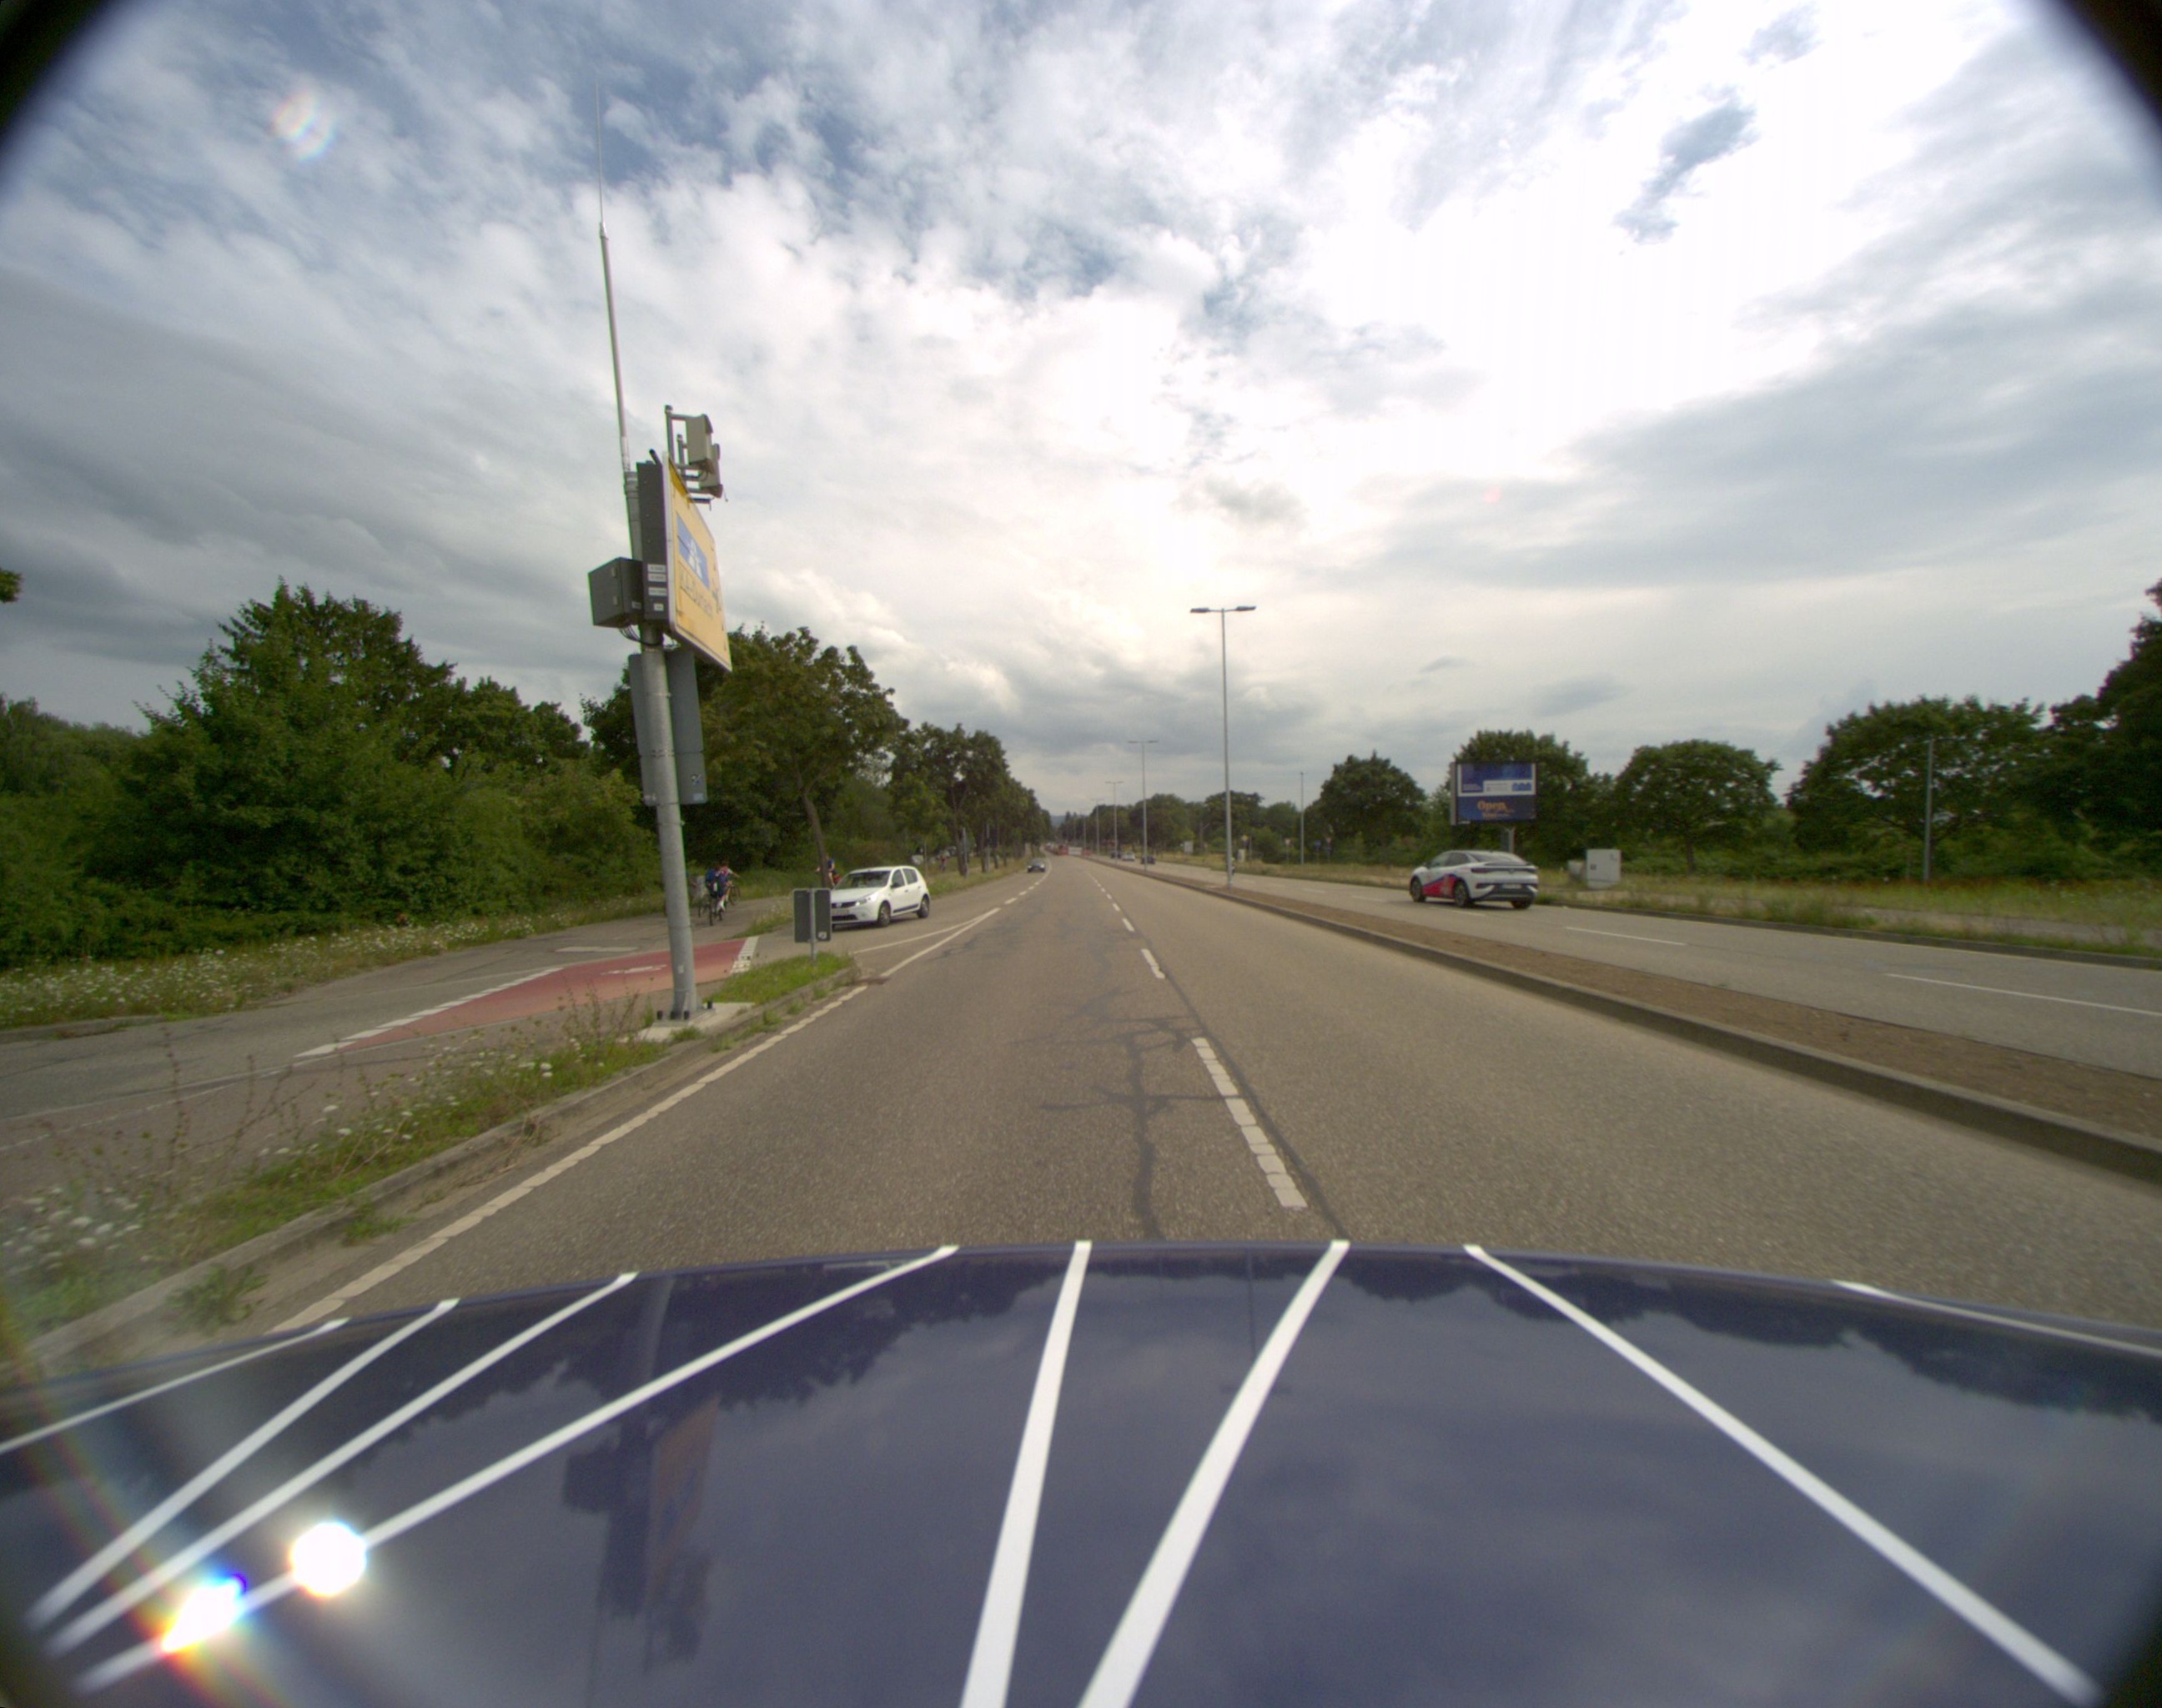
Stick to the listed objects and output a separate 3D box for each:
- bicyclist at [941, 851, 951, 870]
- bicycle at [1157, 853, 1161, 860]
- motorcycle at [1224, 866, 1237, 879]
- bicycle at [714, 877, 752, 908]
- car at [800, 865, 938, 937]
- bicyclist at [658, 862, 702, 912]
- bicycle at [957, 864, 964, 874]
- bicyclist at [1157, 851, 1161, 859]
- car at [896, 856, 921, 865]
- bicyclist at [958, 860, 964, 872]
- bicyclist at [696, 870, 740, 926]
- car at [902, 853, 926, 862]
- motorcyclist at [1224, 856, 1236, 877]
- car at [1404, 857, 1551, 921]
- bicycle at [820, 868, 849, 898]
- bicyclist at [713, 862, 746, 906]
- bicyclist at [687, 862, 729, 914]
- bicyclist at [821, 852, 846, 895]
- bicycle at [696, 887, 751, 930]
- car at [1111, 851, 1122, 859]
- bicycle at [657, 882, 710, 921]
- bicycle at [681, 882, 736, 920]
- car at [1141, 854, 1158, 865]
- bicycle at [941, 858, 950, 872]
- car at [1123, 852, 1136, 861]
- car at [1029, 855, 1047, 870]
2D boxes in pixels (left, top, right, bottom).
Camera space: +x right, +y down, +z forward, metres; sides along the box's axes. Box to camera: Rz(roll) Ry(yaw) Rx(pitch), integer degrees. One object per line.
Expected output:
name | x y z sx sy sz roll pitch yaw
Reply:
bicyclist | -12.031 0.611 67.656 0.653 1.648 0.780 -2 1 -2
bicycle | 17.206 0.582 167.303 0.537 1.414 2.166 0 0 -1
motorcycle | 11.228 1.368 57.285 0.524 0.961 2.219 -1 0 0
bicycle | -12.263 1.340 26.851 0.622 1.000 1.786 1 0 -4
car | -5.428 1.164 20.064 1.850 1.493 4.002 -4 0 10
bicyclist | -12.291 1.000 23.304 0.743 1.478 0.958 -2 1 1
bicycle | -12.448 1.518 78.764 0.515 0.958 1.782 0 0 -2
bicyclist | 17.221 0.191 167.304 0.645 1.821 0.819 0 1 -2
car | -28.766 1.064 126.966 4.000 1.435 1.650 0 1 -7
bicyclist | -12.452 1.228 78.804 0.540 1.275 0.450 -2 1 -2
bicyclist | -10.274 1.224 21.537 0.743 1.509 0.958 -2 1 -1
car | -29.493 0.643 134.320 4.000 1.546 1.650 0 1 -7
motorcyclist | 11.215 0.958 57.179 0.772 1.579 0.896 0 0 -1
car | 11.143 0.911 21.790 1.852 1.592 4.561 -1 0 0
bicycle | -9.837 1.133 30.351 0.575 1.141 1.982 0 0 -2
bicyclist | -12.267 1.034 26.520 0.742 1.465 0.805 -2 1 -4
bicyclist | -11.384 1.014 23.212 0.743 1.509 0.958 -2 1 -1
bicyclist | -9.840 0.773 30.269 0.653 1.648 0.876 -2 1 -2
bicycle | -10.255 1.537 21.869 0.621 1.000 2.101 1 2 -1
car | 7.428 0.268 159.287 1.852 1.644 4.563 0 0 -2
bicycle | -12.270 1.447 23.516 0.621 1.000 1.787 1 3 3
bicycle | -11.382 1.418 23.307 0.597 1.030 2.195 -1 0 -1
car | 9.902 0.817 110.140 1.773 1.523 4.740 0 0 -2
bicycle | -12.028 0.964 67.591 0.515 1.141 2.231 0 0 -2
car | 8.645 0.431 135.145 1.773 1.644 4.637 1 0 -2
car | -4.370 0.884 77.755 1.773 1.439 4.322 -1 0 -3
